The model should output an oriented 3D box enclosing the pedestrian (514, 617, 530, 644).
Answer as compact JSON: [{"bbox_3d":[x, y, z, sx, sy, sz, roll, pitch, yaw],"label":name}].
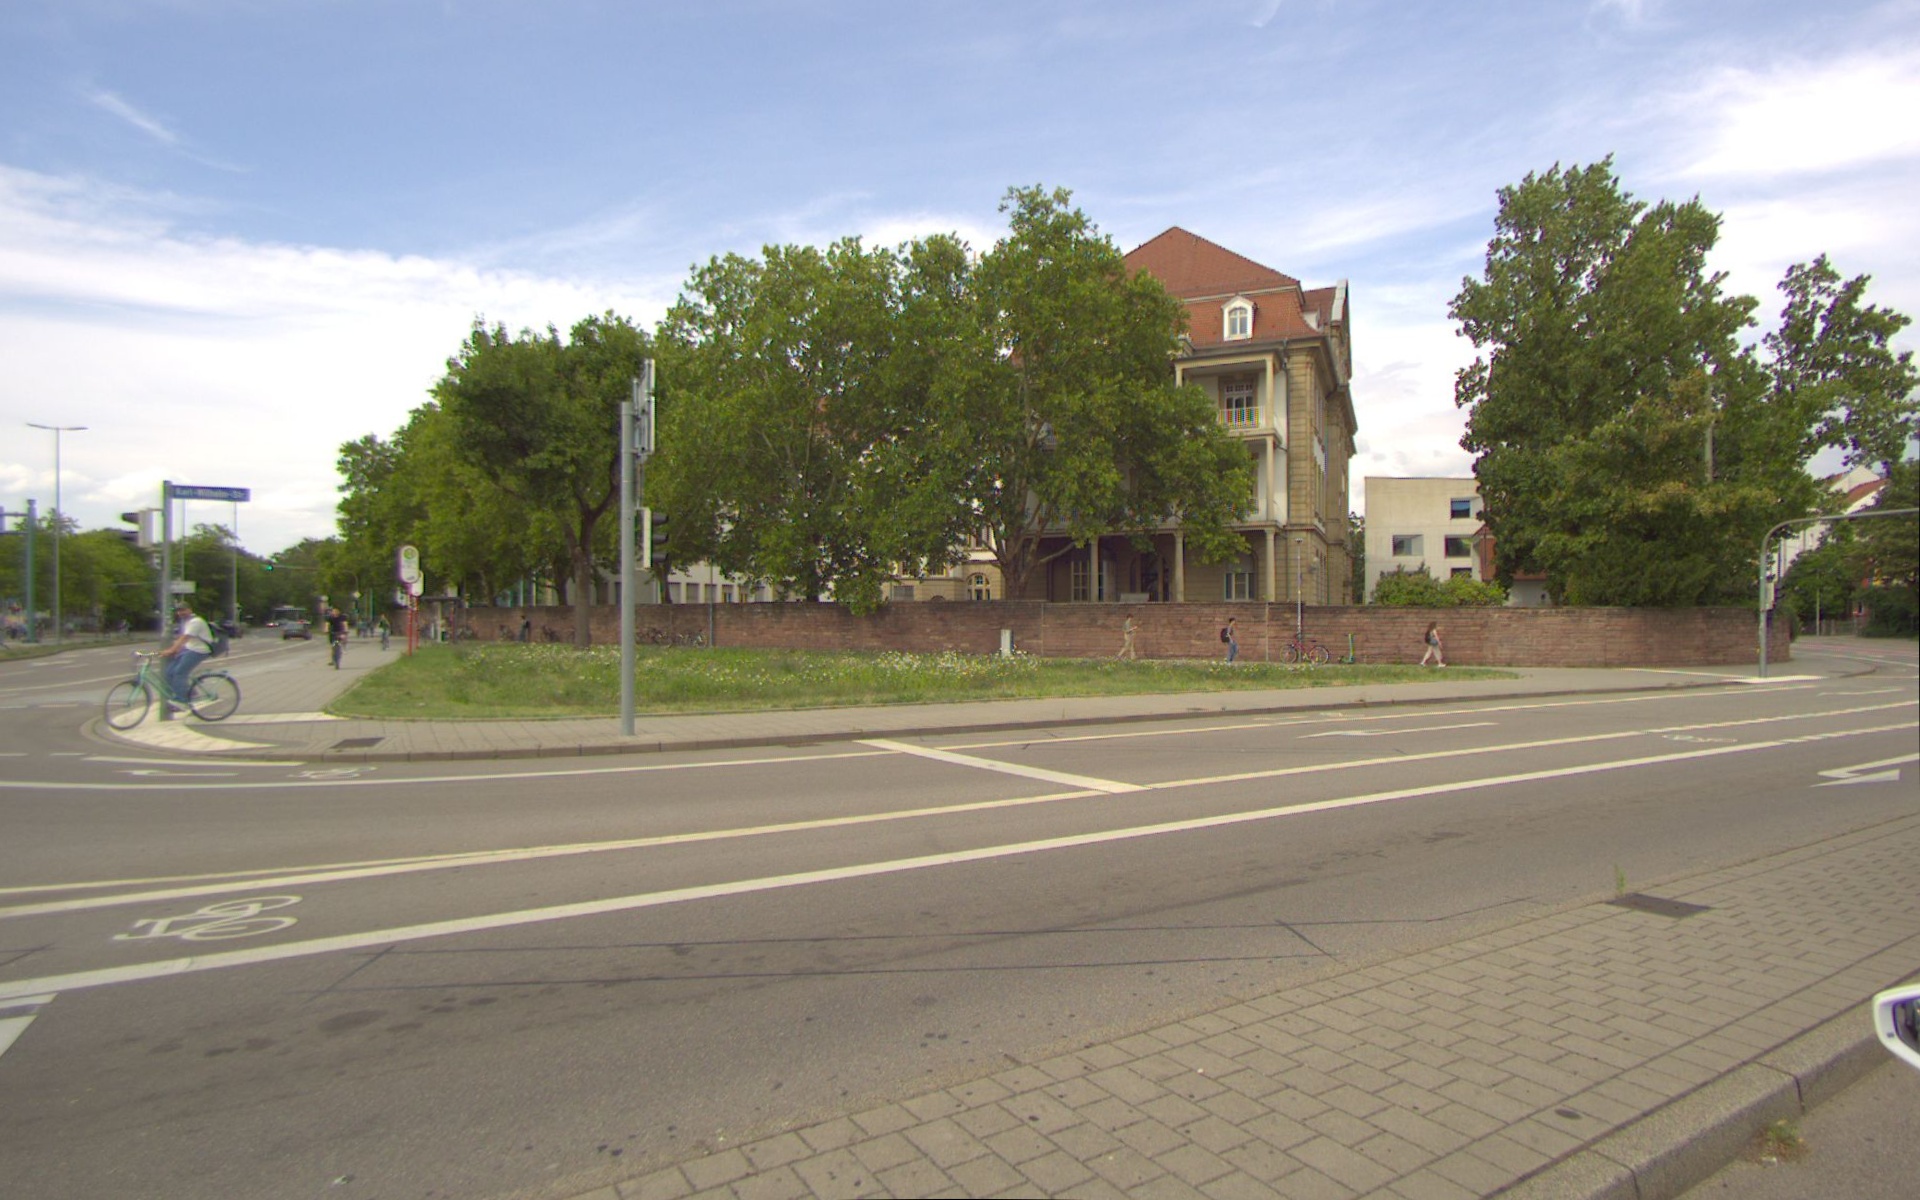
[{"bbox_3d":[-27.274,1.891,62.547,0.743,1.643,0.566,-1,1,40],"label":"pedestrian"}]

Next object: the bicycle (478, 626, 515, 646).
[{"bbox_3d":[-28.969,2.242,62.829,0.744,1.204,2.098,0,-3,22],"label":"bicycle"}]

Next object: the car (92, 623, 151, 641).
[{"bbox_3d":[-78.056,2.957,93.533,4.048,1.509,1.791,2,-1,2],"label":"car"}]

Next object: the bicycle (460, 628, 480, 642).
[{"bbox_3d":[-33.773,2.396,69.192,1.554,0.899,0.658,-2,1,42],"label":"bicycle"}]

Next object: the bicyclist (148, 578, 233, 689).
[{"bbox_3d":[-11.297,0.470,14.759,0.568,1.576,0.798,1,1,15],"label":"bicyclist"}]

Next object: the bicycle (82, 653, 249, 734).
[{"bbox_3d":[-11.408,1.315,14.521,0.496,0.948,1.972,1,1,15],"label":"bicycle"}]

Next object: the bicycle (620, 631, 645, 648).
[{"bbox_3d":[-17.952,2.156,55.001,1.794,0.875,0.357,-1,-3,39],"label":"bicycle"}]

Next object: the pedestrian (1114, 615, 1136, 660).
[{"bbox_3d":[6.419,1.456,39.124,0.766,1.677,0.577,-1,1,7],"label":"pedestrian"}]

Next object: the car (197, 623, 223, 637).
[{"bbox_3d":[-85.985,3.430,115.163,1.768,1.509,4.100,2,-2,-28],"label":"car"}]

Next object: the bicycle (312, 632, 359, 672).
[{"bbox_3d":[-16.883,1.393,27.185,0.497,0.948,1.965,0,1,-14],"label":"bicycle"}]

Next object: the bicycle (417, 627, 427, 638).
[{"bbox_3d":[-42.766,2.575,79.827,0.429,0.899,1.558,-4,1,-39],"label":"bicycle"}]

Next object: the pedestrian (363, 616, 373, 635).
[{"bbox_3d":[-52.480,2.244,89.033,0.747,1.643,0.659,-2,1,-34],"label":"pedestrian"}]

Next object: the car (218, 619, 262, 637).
[{"bbox_3d":[-67.253,2.617,93.788,4.057,1.509,1.787,1,-2,31],"label":"car"}]

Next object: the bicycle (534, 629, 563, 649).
[{"bbox_3d":[-24.794,2.334,60.498,2.067,1.204,0.755,-1,-3,40],"label":"bicycle"}]

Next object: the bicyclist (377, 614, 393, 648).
[{"bbox_3d":[-27.893,1.500,48.722,0.486,1.576,0.795,0,1,-14],"label":"bicyclist"}]

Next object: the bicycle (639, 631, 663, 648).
[{"bbox_3d":[-16.559,2.122,53.835,1.783,0.875,0.357,-1,-3,42],"label":"bicycle"}]

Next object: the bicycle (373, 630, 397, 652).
[{"bbox_3d":[-27.892,1.966,48.754,0.497,0.948,1.965,0,1,-14],"label":"bicycle"}]

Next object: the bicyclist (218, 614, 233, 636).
[{"bbox_3d":[-59.302,2.045,81.099,0.768,1.733,1.079,2,-3,-26],"label":"bicyclist"}]

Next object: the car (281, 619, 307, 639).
[{"bbox_3d":[-55.002,2.363,82.940,1.682,1.500,4.376,-2,0,-33],"label":"car"}]

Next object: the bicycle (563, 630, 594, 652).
[{"bbox_3d":[-22.009,2.364,57.948,2.067,1.204,0.755,-1,-3,40],"label":"bicycle"}]

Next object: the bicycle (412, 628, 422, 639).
[{"bbox_3d":[-43.947,2.697,81.280,0.429,0.899,1.558,-4,1,-39],"label":"bicycle"}]

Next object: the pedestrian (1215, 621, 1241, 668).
[{"bbox_3d":[9.876,1.645,37.053,0.766,1.677,0.577,-2,1,2],"label":"pedestrian"}]

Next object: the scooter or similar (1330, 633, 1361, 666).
[{"bbox_3d":[14.407,1.836,37.513,0.513,1.154,1.509,-1,1,45],"label":"scooter or similar"}]

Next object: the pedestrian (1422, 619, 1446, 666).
[{"bbox_3d":[17.474,1.571,37.071,0.617,1.677,0.532,-2,1,3],"label":"pedestrian"}]

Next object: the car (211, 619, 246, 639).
[{"bbox_3d":[-61.806,2.437,84.930,1.768,1.509,4.100,2,-2,-28],"label":"car"}]

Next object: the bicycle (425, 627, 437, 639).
[{"bbox_3d":[-40.441,2.523,76.781,0.429,0.899,1.558,-4,1,-39],"label":"bicycle"}]

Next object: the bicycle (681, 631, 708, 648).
[{"bbox_3d":[-13.741,2.049,51.945,1.681,0.875,0.357,-1,-3,36],"label":"bicycle"}]

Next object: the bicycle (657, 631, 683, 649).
[{"bbox_3d":[-15.191,2.089,52.582,1.864,0.875,0.357,-2,-4,43],"label":"bicycle"}]

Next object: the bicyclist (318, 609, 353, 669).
[{"bbox_3d":[-16.900,1.030,27.193,0.570,1.576,0.795,0,1,-14],"label":"bicyclist"}]

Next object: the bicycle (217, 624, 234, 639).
[{"bbox_3d":[-59.247,2.551,81.033,0.749,1.204,2.085,2,-3,-26],"label":"bicycle"}]

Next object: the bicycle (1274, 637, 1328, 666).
[{"bbox_3d":[12.856,1.955,37.883,1.888,1.018,0.779,-2,1,17],"label":"bicycle"}]
